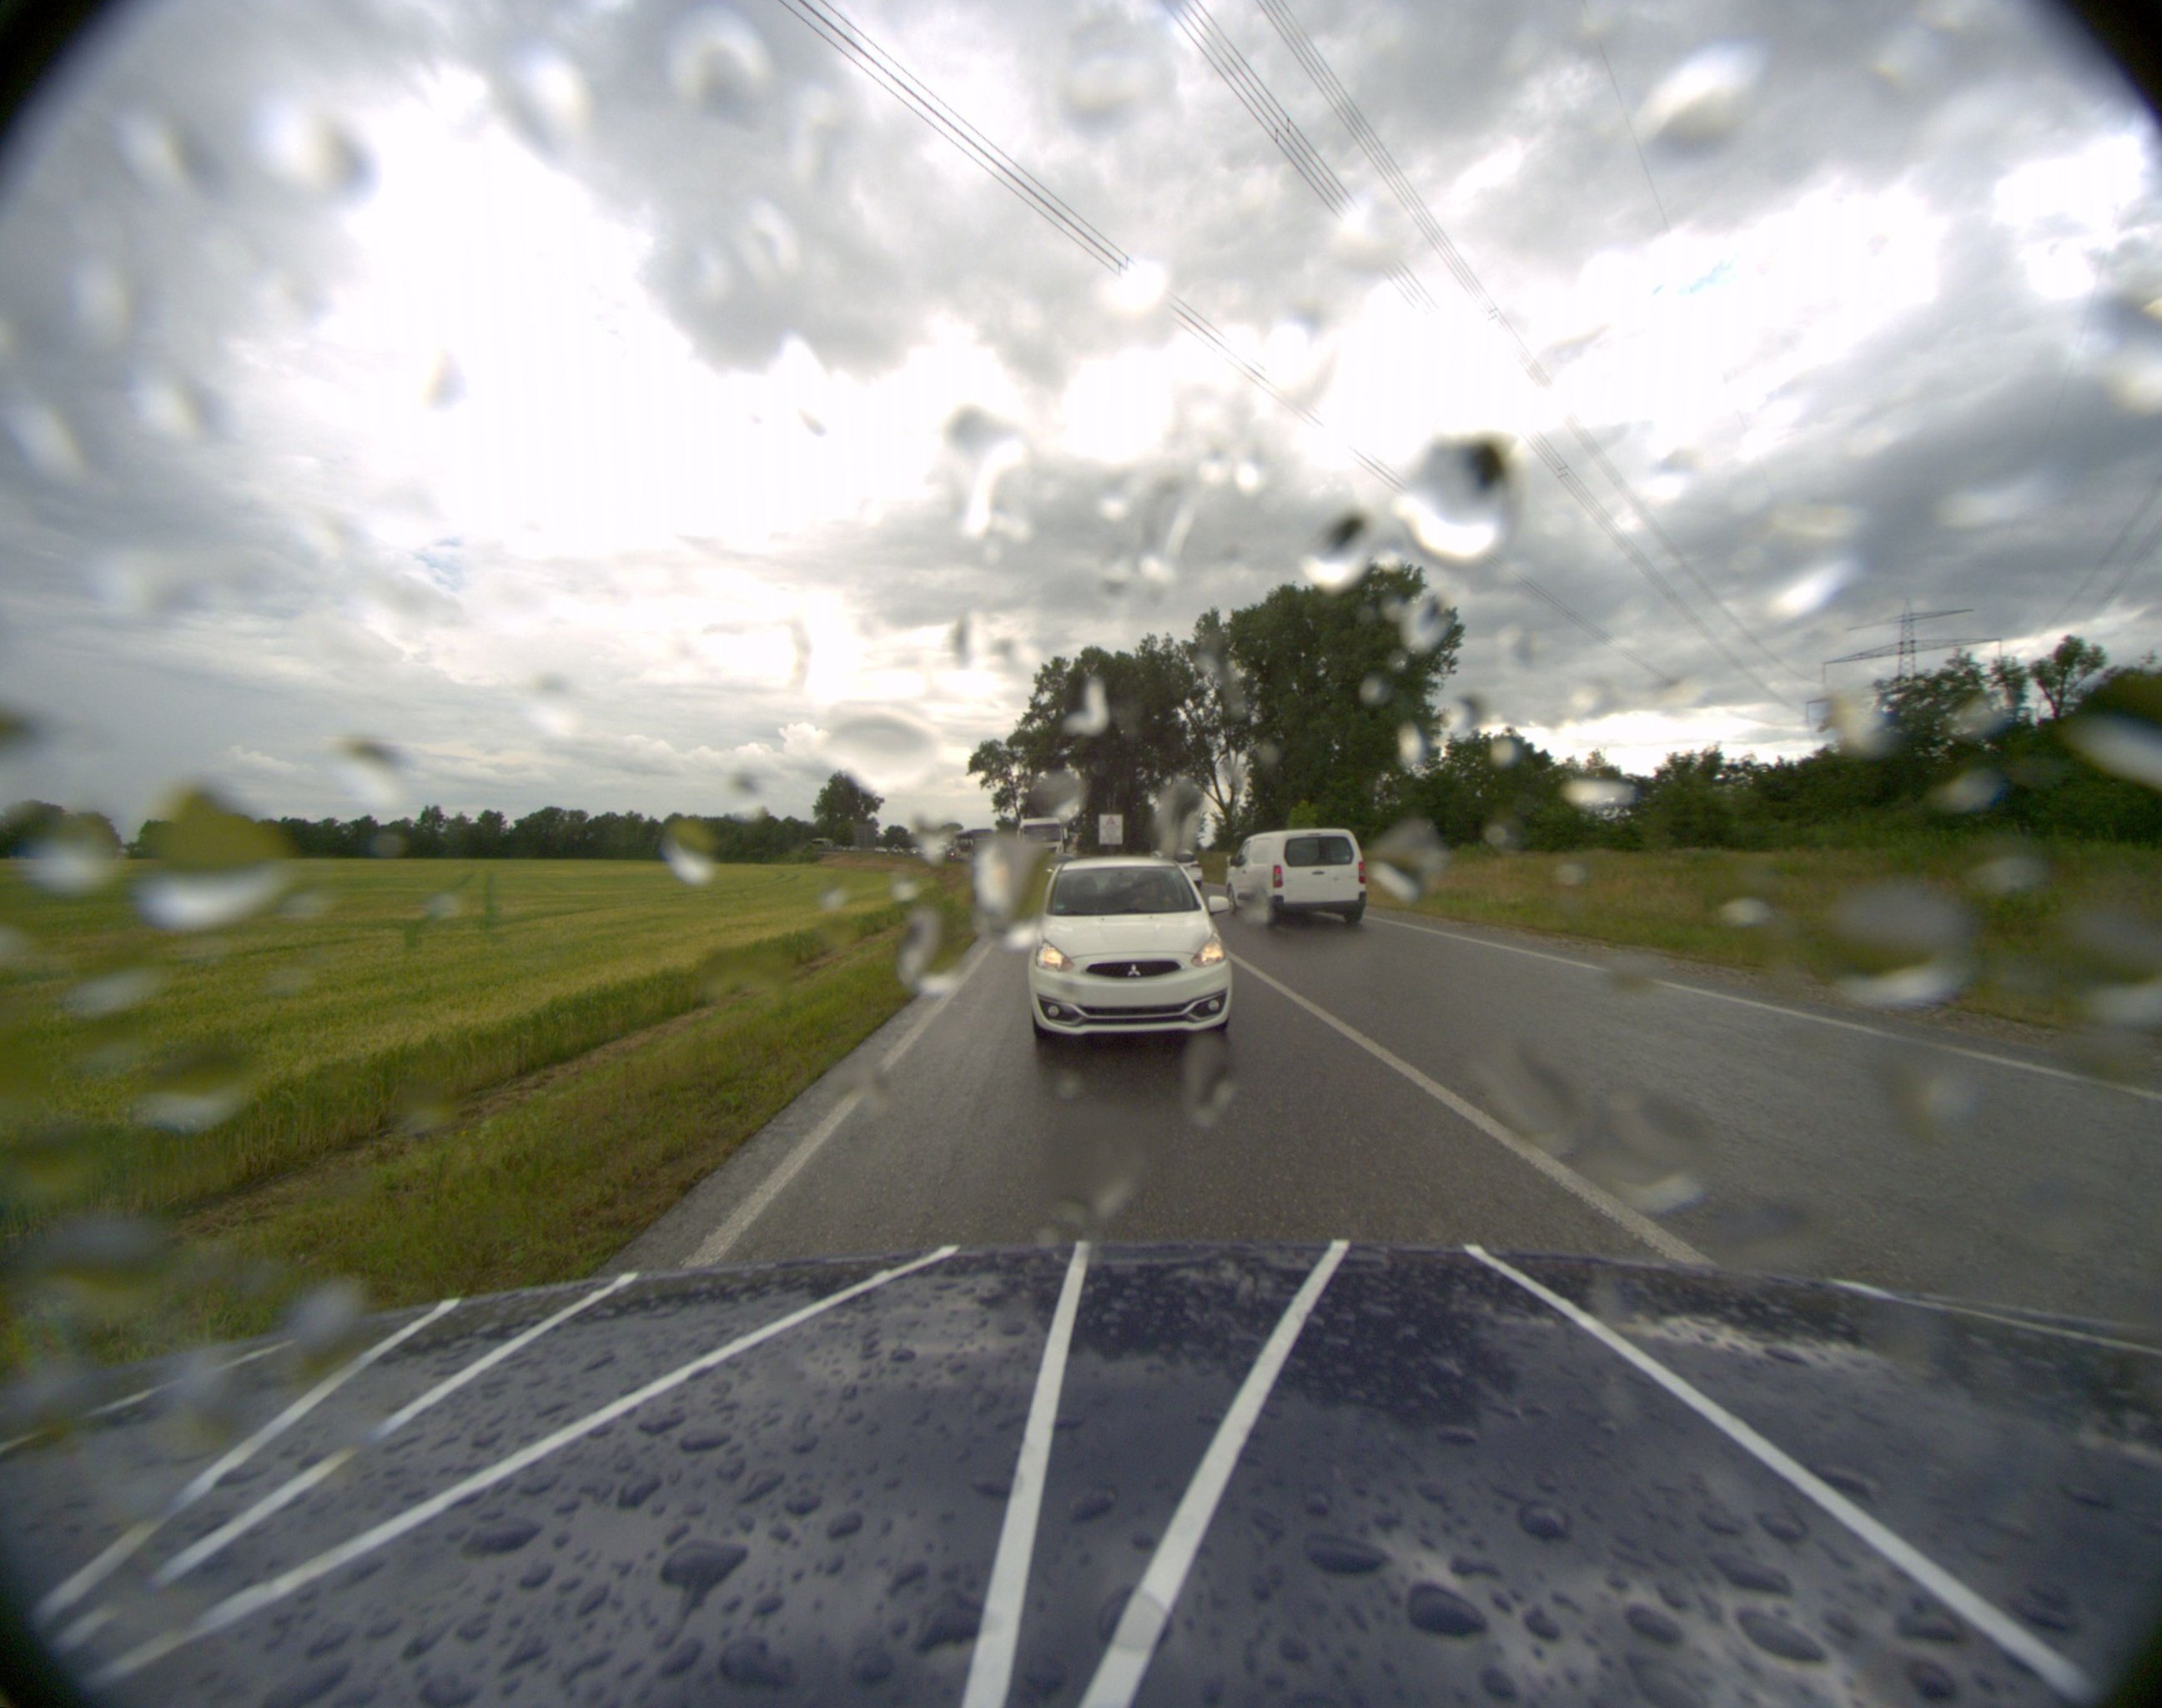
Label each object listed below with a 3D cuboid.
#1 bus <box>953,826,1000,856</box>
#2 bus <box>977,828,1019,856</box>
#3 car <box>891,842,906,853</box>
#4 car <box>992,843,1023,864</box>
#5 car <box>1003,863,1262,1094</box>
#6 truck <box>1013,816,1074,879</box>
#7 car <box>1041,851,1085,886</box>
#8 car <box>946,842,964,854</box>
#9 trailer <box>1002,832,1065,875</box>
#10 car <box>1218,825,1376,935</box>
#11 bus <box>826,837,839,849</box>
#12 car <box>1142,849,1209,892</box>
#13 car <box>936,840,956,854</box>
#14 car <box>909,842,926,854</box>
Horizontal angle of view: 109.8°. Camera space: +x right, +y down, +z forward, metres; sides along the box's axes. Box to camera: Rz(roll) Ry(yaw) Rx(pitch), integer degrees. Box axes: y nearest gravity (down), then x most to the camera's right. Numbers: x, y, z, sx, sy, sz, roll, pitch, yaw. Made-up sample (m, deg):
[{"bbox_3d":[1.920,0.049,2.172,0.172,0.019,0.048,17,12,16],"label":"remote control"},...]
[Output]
[{"bbox_3d":[-13.049,-1.655,93.331,2.968,3.294,14.809,-3,3,-18],"label":"bus"},{"bbox_3d":[-11.105,-1.503,100.477,2.769,3.279,12.481,-3,1,-19],"label":"bus"},{"bbox_3d":[-36.553,-1.320,152.018,2.002,2.002,4.222,-4,2,-27],"label":"car"},{"bbox_3d":[-7.060,-0.065,72.922,2.044,1.832,5.328,-3,2,-15],"label":"car"},{"bbox_3d":[0.383,0.864,7.063,1.653,1.461,4.031,-3,-1,1],"label":"car"},{"bbox_3d":[-2.452,-0.482,48.047,2.986,3.590,6.073,-3,2,-9],"label":"truck"},{"bbox_3d":[-0.920,0.644,36.117,1.782,1.380,4.325,-3,2,-5],"label":"car"},{"bbox_3d":[-17.835,-0.798,107.525,1.816,1.569,3.992,-4,2,-20],"label":"car"},{"bbox_3d":[-3.837,-0.207,56.543,2.986,2.618,15.664,-3,2,-9],"label":"trailer"},{"bbox_3d":[4.209,0.424,15.578,1.849,1.845,4.445,-3,1,-1],"label":"car"},{"bbox_3d":[-68.569,-3.008,209.450,2.002,2.899,6.993,-4,2,-28],"label":"bus"},{"bbox_3d":[3.458,0.561,28.584,1.849,1.380,4.285,-3,1,-1],"label":"car"},{"bbox_3d":[-20.853,-1.135,117.347,2.002,2.002,5.325,-4,2,-21],"label":"car"},{"bbox_3d":[-29.584,-1.031,137.283,2.002,2.002,4.223,-4,2,-24],"label":"car"}]
